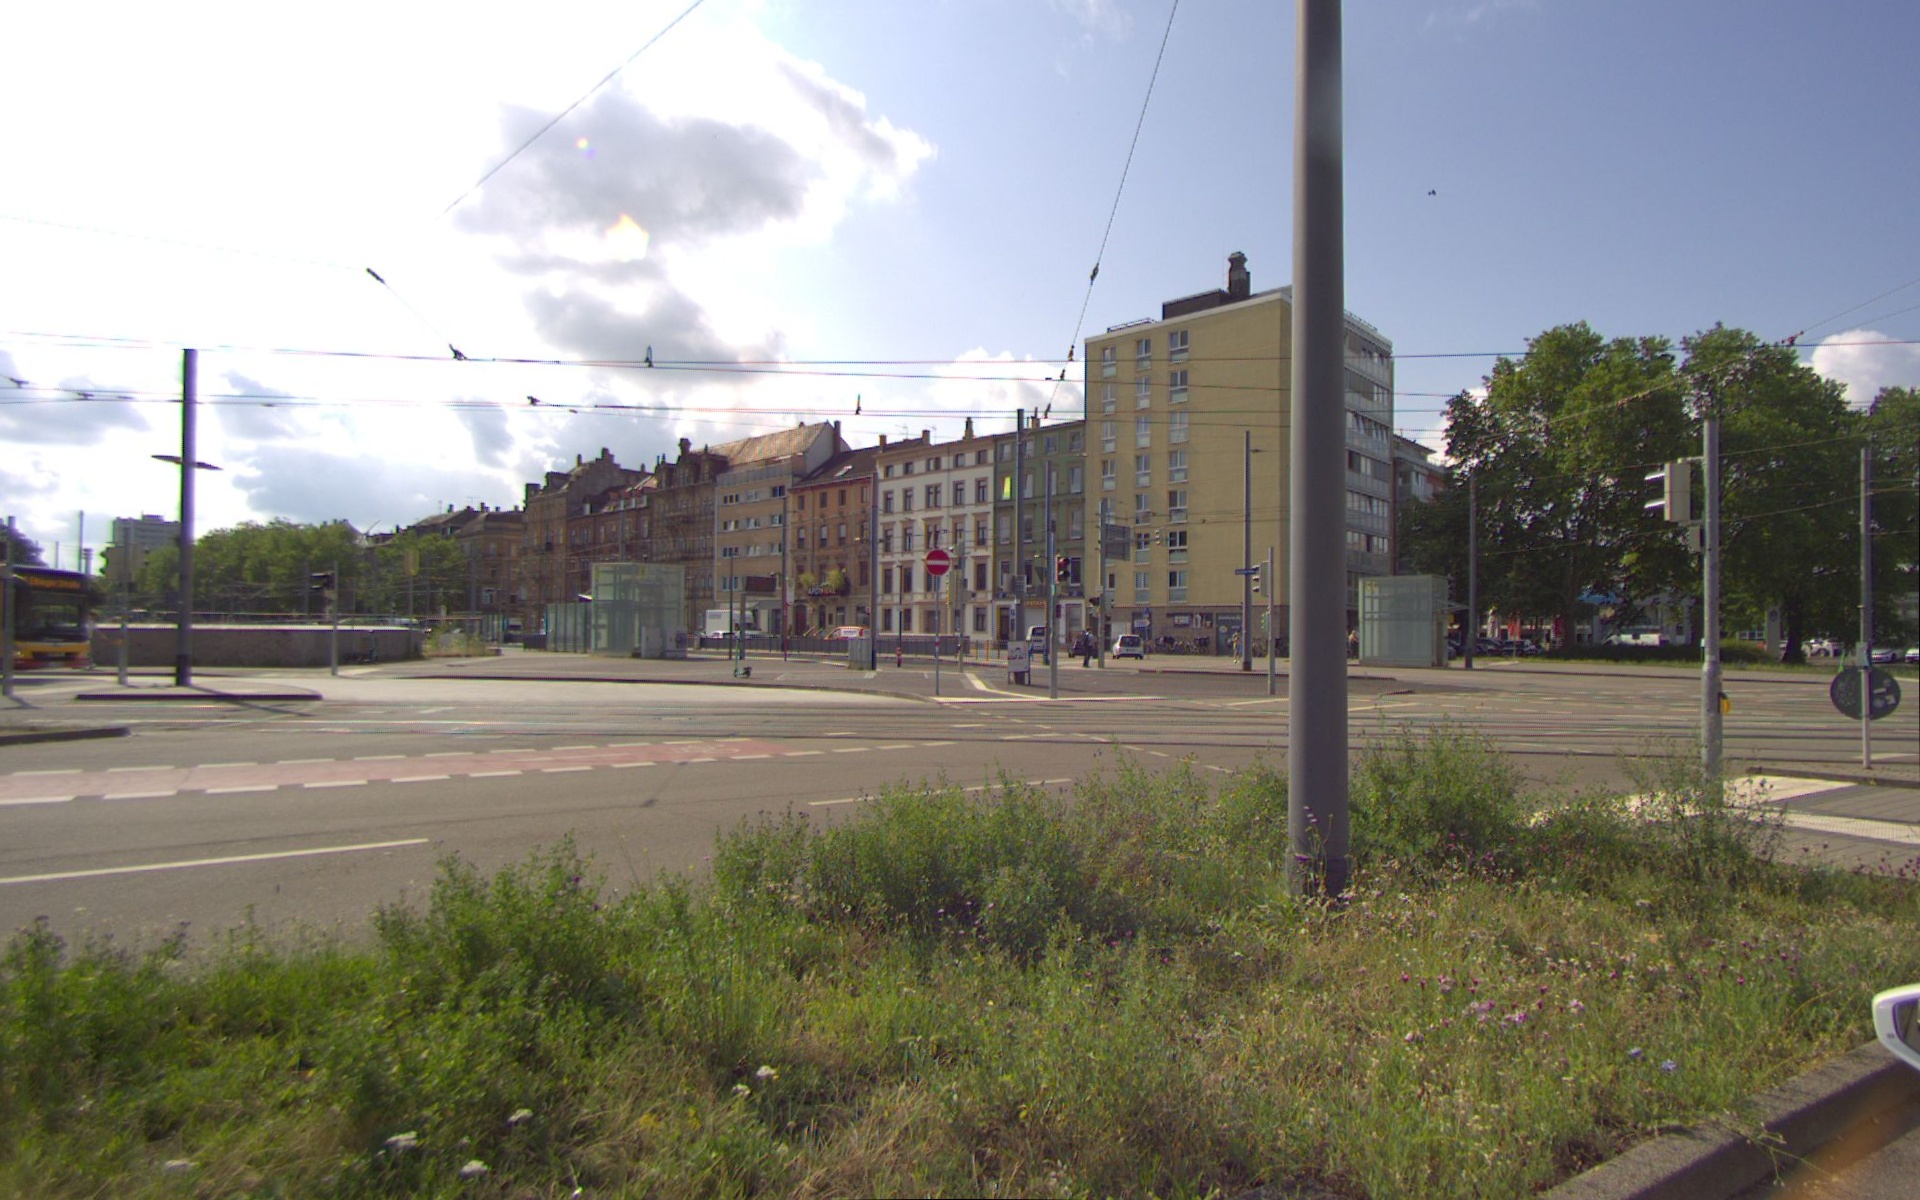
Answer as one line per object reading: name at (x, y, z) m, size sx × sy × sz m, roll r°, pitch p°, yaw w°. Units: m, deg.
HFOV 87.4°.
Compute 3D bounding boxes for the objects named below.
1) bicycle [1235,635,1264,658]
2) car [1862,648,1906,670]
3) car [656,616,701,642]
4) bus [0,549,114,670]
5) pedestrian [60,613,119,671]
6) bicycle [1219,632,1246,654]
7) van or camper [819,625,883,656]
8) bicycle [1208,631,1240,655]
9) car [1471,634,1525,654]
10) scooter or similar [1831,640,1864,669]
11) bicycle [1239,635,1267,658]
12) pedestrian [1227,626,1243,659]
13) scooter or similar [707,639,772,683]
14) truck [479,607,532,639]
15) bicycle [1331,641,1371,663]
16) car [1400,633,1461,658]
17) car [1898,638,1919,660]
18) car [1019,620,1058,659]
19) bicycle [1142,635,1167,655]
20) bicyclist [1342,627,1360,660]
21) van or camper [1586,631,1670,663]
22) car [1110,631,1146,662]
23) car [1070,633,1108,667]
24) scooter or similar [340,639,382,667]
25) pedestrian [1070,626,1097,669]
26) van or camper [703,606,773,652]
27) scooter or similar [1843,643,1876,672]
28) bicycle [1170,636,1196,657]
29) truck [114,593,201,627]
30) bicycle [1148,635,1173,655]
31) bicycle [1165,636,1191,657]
bicycle at (18.450, 2.969, 64.062) m, size 0.528 × 1.289 × 1.623 m, roll 2°, pitch 3°, yaw -45°
car at (73.582, 4.692, 79.967) m, size 3.965 × 1.595 × 1.978 m, roll 1°, pitch 0°, yaw -38°
car at (-23.992, 2.485, 85.681) m, size 3.945 × 2.040 × 1.988 m, roll 1°, pitch 0°, yaw 44°
bus at (-25.841, 0.230, 25.023) m, size 6.964 × 2.871 × 2.699 m, roll 1°, pitch -1°, yaw -4°
pedestrian at (-27.722, 1.326, 32.002) m, size 1.077 × 1.712 × 0.929 m, roll 3°, pitch 4°, yaw -5°
bicycle at (17.738, 2.797, 65.390) m, size 0.484 × 1.289 × 1.623 m, roll 2°, pitch 3°, yaw -44°
van or camper at (-7.780, 2.856, 71.644) m, size 4.454 × 1.940 × 2.006 m, roll 1°, pitch 0°, yaw 40°
bicycle at (17.140, 2.783, 65.203) m, size 1.859 × 1.289 × 0.486 m, roll 6°, pitch 5°, yaw 36°
car at (43.971, 3.587, 82.132) m, size 1.654 × 1.615 × 3.574 m, roll 2°, pitch -2°, yaw -43°
scooter or similar at (38.810, 2.394, 43.941) m, size 0.911 × 1.173 × 0.381 m, roll 3°, pitch 4°, yaw 16°
bicycle at (18.819, 2.978, 64.452) m, size 0.484 × 1.289 × 1.623 m, roll 2°, pitch 3°, yaw -44°
pedestrian at (15.134, 2.321, 55.192) m, size 0.770 × 1.783 × 0.995 m, roll 1°, pitch -1°, yaw 19°
scooter or similar at (-6.690, 1.823, 30.432) m, size 1.330 × 1.205 × 1.475 m, roll 1°, pitch 0°, yaw -44°
truck at (-52.171, 2.550, 115.192) m, size 7.197 × 3.330 × 3.160 m, roll 2°, pitch 1°, yaw 45°
bicycle at (21.801, 2.901, 56.013) m, size 1.958 × 1.142 × 0.788 m, roll 0°, pitch -2°, yaw 32°
car at (33.594, 3.237, 71.788) m, size 3.524 × 1.550 × 1.989 m, roll 1°, pitch 0°, yaw 43°
car at (74.541, 3.814, 77.708) m, size 3.959 × 1.625 × 2.055 m, roll 2°, pitch -2°, yaw -34°
car at (5.102, 2.553, 65.970) m, size 2.039 × 2.113 × 4.897 m, roll 2°, pitch 2°, yaw -1°
bicycle at (13.315, 3.093, 68.915) m, size 0.484 × 1.218 × 1.623 m, roll 2°, pitch 3°, yaw -44°
bicyclist at (21.821, 2.421, 56.033) m, size 0.813 × 1.768 × 0.710 m, roll 0°, pitch -2°, yaw 32°
van or camper at (59.895, 4.169, 90.192) m, size 2.361 × 2.502 × 5.858 m, roll 1°, pitch 0°, yaw -25°
car at (10.194, 2.797, 61.047) m, size 1.685 × 1.460 × 3.512 m, roll 3°, pitch 3°, yaw 3°
car at (8.031, 3.072, 62.967) m, size 1.853 × 1.488 × 5.063 m, roll 3°, pitch 4°, yaw 2°
scooter or similar at (-21.224, 1.864, 35.614) m, size 0.464 × 0.962 × 1.664 m, roll 1°, pitch -2°, yaw -1°
pedestrian at (5.334, 2.031, 43.322) m, size 0.783 × 1.696 × 0.840 m, roll 6°, pitch 6°, yaw 41°
van or camper at (-20.494, 2.581, 92.431) m, size 2.703 × 3.376 × 7.536 m, roll -2°, pitch 6°, yaw -45°
scooter or similar at (38.820, 2.482, 43.353) m, size 0.911 × 1.173 × 0.381 m, roll 2°, pitch 4°, yaw 4°
bicycle at (15.066, 3.133, 67.895) m, size 0.484 × 1.218 × 1.623 m, roll 2°, pitch 3°, yaw -44°
truck at (-93.140, 1.223, 116.660) m, size 2.433 × 3.696 × 7.418 m, roll -1°, pitch -3°, yaw 39°
bicycle at (13.822, 3.105, 69.157) m, size 0.484 × 1.218 × 1.623 m, roll 2°, pitch 3°, yaw -44°
bicycle at (14.632, 3.134, 67.542) m, size 0.545 × 1.218 × 1.623 m, roll 2°, pitch 3°, yaw -45°
